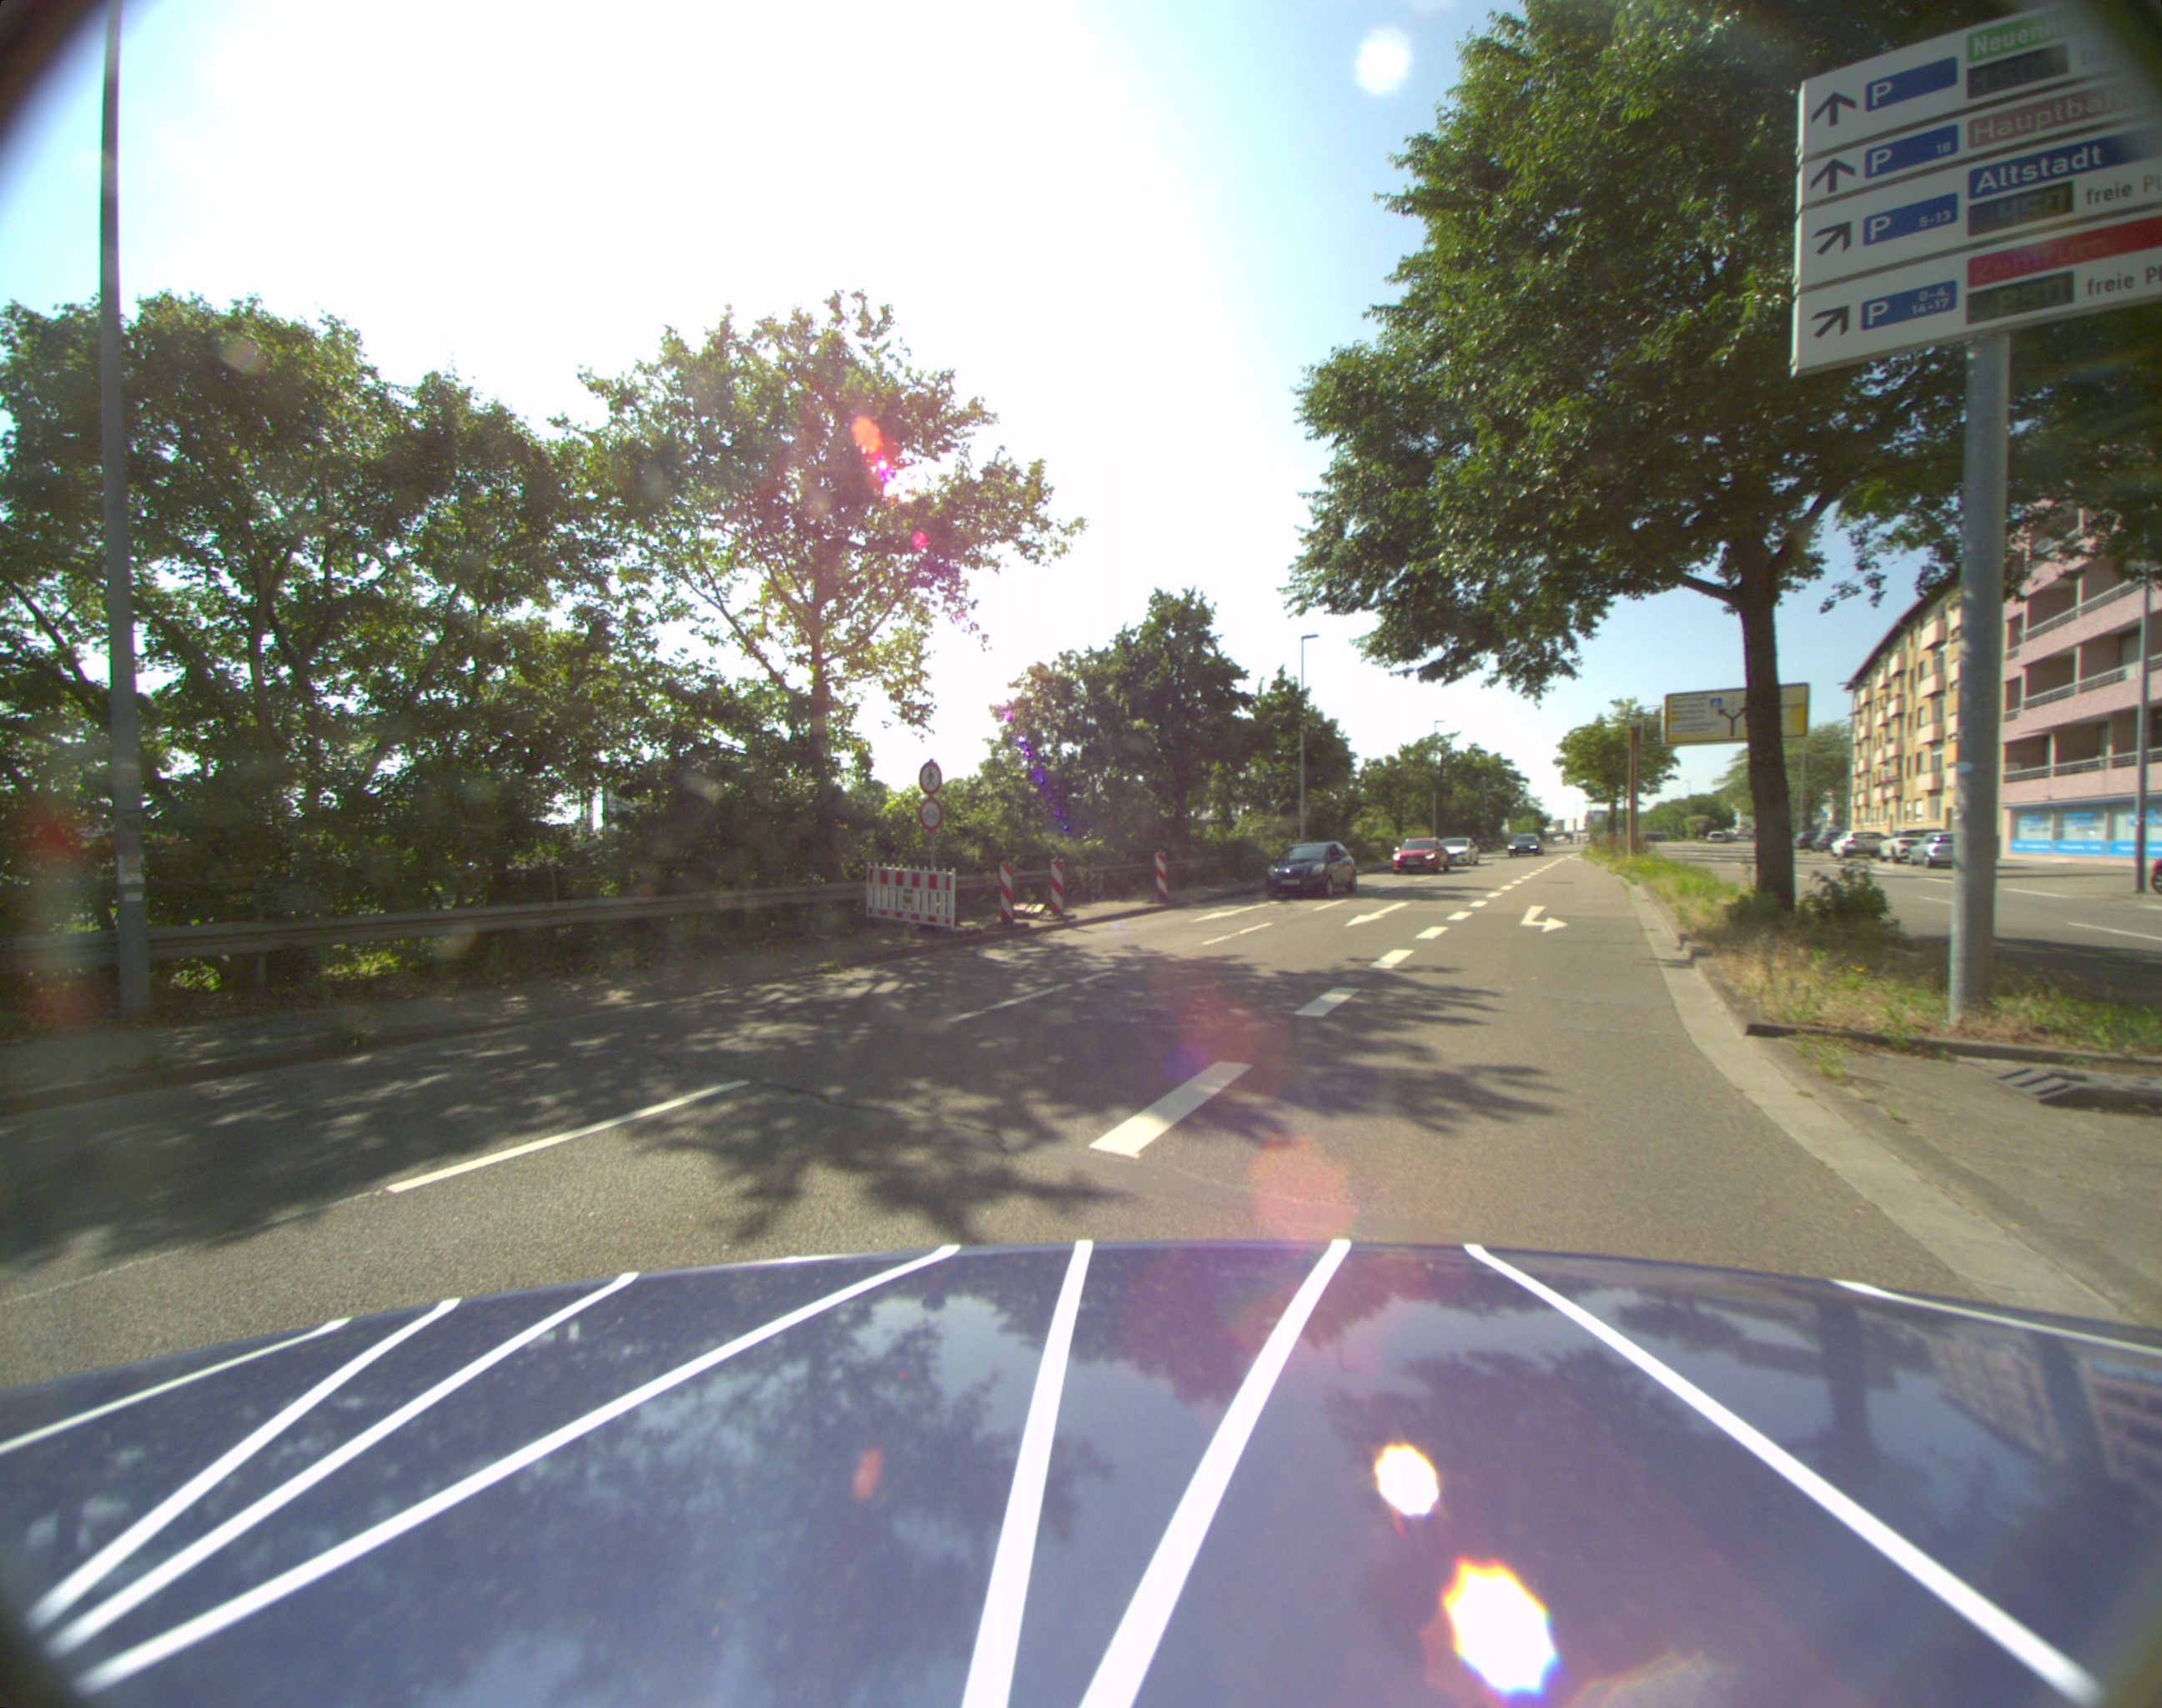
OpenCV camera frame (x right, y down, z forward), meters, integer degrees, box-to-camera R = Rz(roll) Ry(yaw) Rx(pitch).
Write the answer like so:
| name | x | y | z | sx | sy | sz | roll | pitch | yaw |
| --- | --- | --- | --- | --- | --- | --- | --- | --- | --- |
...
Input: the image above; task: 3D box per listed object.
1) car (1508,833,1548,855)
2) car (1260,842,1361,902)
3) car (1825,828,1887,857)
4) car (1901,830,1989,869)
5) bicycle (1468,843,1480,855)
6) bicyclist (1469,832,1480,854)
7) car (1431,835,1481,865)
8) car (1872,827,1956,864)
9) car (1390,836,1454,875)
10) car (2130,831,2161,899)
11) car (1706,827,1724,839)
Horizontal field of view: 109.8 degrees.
| name | x | y | z | sx | sy | sz | roll | pitch | yaw |
| --- | --- | --- | --- | --- | --- | --- | --- | --- | --- |
| car | 31.108 | -0.708 | 52.836 | 1.994 | 1.404 | 4.624 | -1 | 1 | 36 |
| car | 6.538 | 0.457 | 21.420 | 1.642 | 1.492 | 3.656 | -1 | 1 | 35 |
| car | 42.859 | -0.647 | 42.098 | 1.756 | 1.497 | 4.135 | 2 | 3 | 37 |
| car | 34.156 | -0.197 | 30.127 | 1.679 | 1.401 | 3.437 | -2 | 1 | 38 |
| bicycle | 27.367 | -0.341 | 52.873 | 0.494 | 0.828 | 1.809 | 0 | 2 | 36 |
| bicyclist | 27.390 | -0.763 | 52.894 | 0.573 | 1.525 | 0.780 | 1 | 2 | 36 |
| car | 19.816 | -0.221 | 40.037 | 1.865 | 1.444 | 4.212 | -1 | 1 | 33 |
| car | 37.154 | -0.408 | 33.998 | 1.737 | 1.532 | 4.362 | 0 | 2 | 37 |
| car | 14.602 | 0.031 | 32.439 | 1.798 | 1.511 | 3.972 | 0 | 1 | 35 |
| car | 23.656 | 0.255 | 15.263 | 1.786 | 1.474 | 4.007 | -1 | 1 | 35 |
| car | 84.088 | -2.792 | 100.766 | 1.620 | 1.497 | 3.468 | 3 | 3 | 41 |
